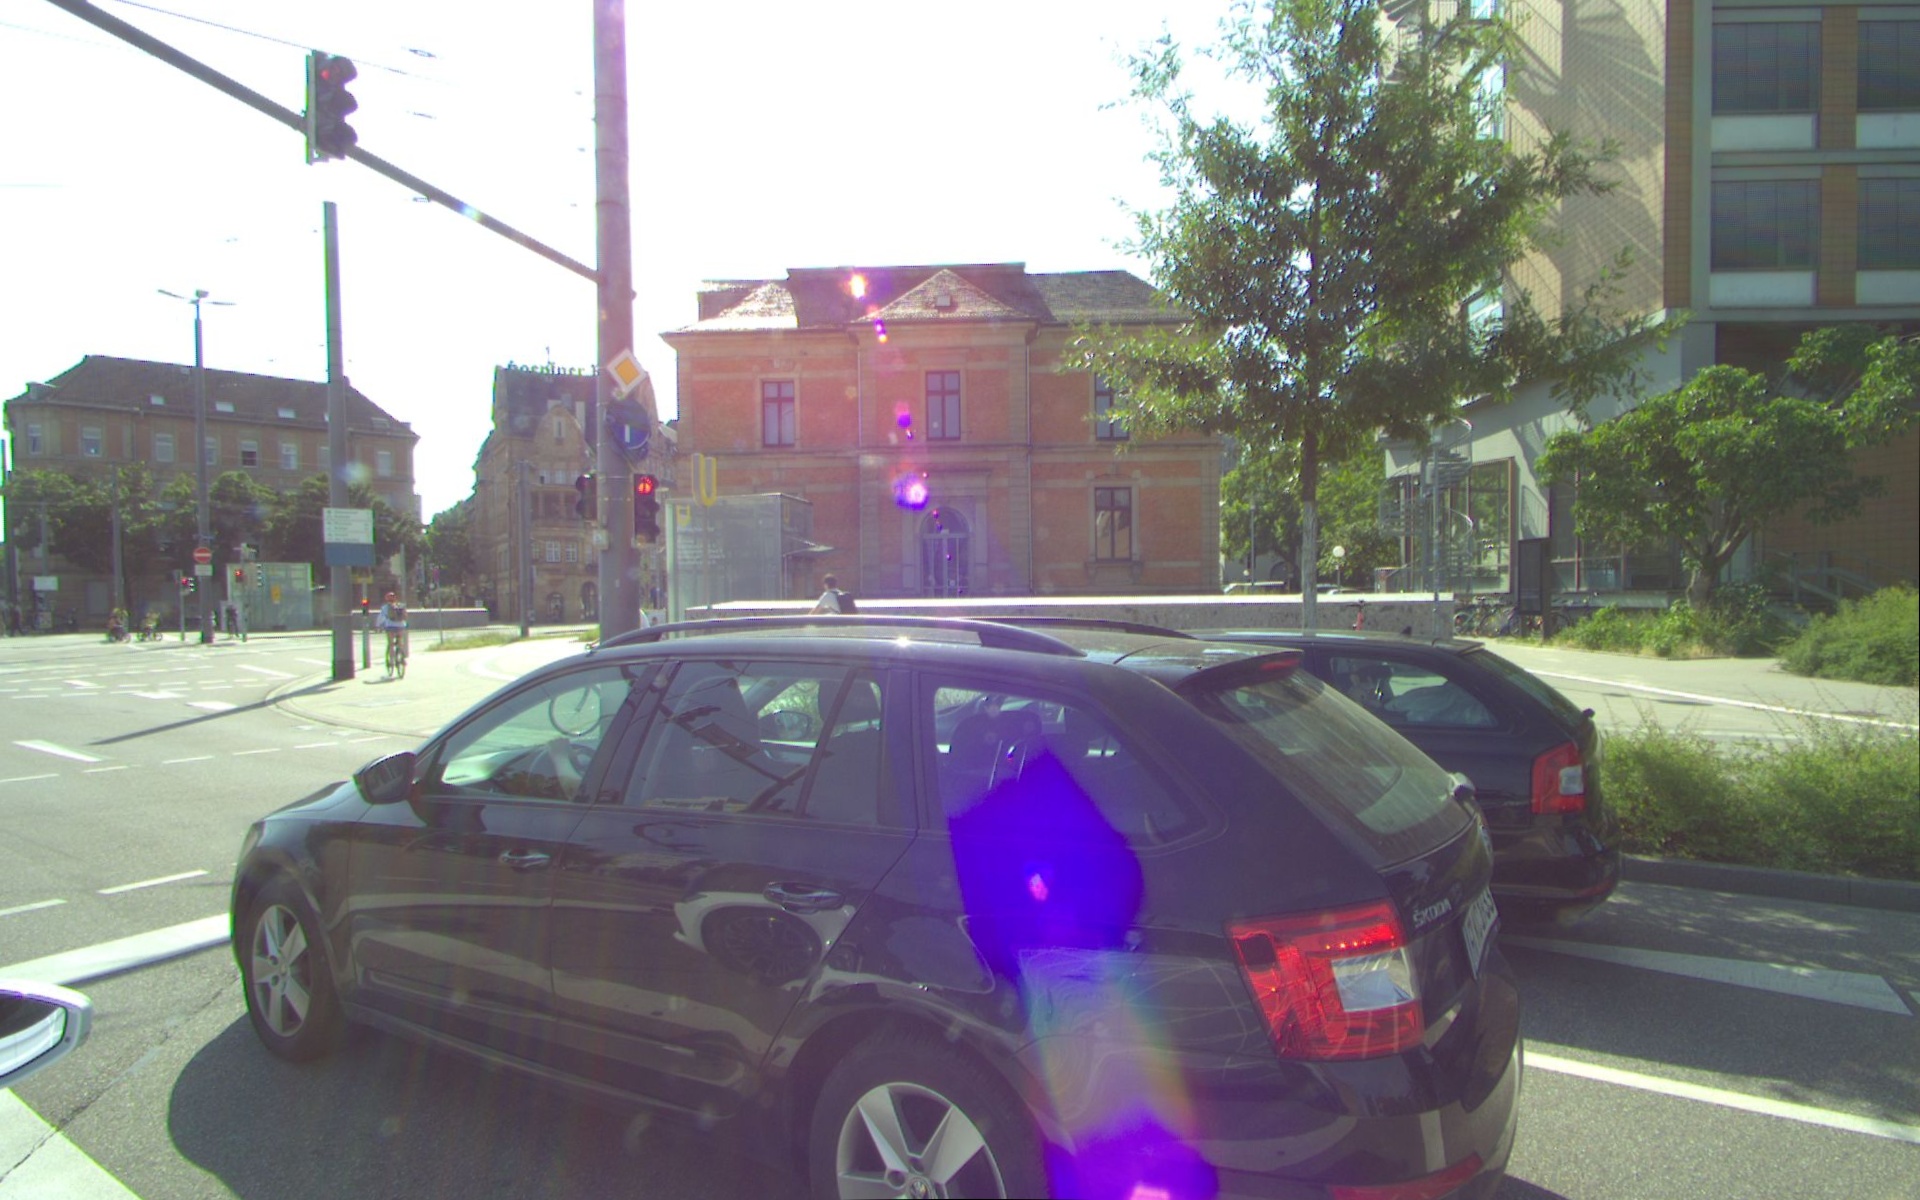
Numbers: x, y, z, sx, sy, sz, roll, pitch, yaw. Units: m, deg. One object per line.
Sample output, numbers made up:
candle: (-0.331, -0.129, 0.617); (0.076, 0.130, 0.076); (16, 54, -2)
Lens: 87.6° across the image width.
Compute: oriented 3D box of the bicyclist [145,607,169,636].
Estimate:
bicyclist: (-40.939, 1.088, 51.051); (0.919, 1.470, 1.242); (1, -1, -38)

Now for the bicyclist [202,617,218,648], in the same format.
bicyclist: (-40.028, 1.721, 53.450); (0.641, 1.642, 0.498); (0, -1, 38)

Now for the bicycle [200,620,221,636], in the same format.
bicycle: (-39.990, 1.490, 53.430); (1.567, 0.877, 0.498); (0, -1, 38)

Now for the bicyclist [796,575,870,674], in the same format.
bicyclist: (-2.018, 0.397, 15.939); (0.936, 1.507, 0.713); (-1, -2, 31)

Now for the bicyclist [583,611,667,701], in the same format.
bicyclist: (-4.258, 0.685, 12.729); (0.901, 1.043, 0.714); (-3, 2, -24)

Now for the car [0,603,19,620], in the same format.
car: (-117.019, 1.408, 122.988); (2.094, 2.040, 3.962); (-1, 0, -43)

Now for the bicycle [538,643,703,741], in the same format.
bicycle: (-4.300, 1.132, 12.714); (1.887, 1.029, 0.714); (-3, 2, -24)

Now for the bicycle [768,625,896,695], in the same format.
bicycle: (-2.054, 0.933, 15.954); (1.992, 1.029, 0.712); (-1, 2, 33)

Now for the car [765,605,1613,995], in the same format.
car: (1.079, 0.768, 5.675); (4.335, 1.448, 1.696); (0, 1, 33)

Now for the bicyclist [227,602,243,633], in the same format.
bicyclist: (-39.028, 0.929, 53.875); (0.660, 1.645, 0.777); (1, 0, -35)

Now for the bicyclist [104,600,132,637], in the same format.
bicyclist: (-41.844, 0.926, 49.752); (1.041, 1.843, 0.922); (-1, -2, 42)

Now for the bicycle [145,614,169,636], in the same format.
bicycle: (-40.925, 1.286, 51.043); (0.919, 1.083, 2.819); (1, -1, -38)

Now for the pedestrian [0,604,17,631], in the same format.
pedestrian: (-51.076, 0.948, 53.571); (0.699, 1.451, 0.614); (0, -1, -5)

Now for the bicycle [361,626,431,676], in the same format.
bicycle: (-12.728, 1.118, 22.573); (1.997, 1.029, 0.710); (-1, 3, 41)

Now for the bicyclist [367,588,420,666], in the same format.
bicyclist: (-12.743, 0.601, 22.538); (0.864, 1.692, 0.710); (0, 3, 40)

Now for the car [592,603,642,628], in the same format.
car: (-19.239, 0.833, 56.347); (1.639, 1.331, 3.452); (-1, 0, -1)

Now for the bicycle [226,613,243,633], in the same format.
bicycle: (-38.997, 1.230, 53.830); (0.660, 1.083, 2.447); (1, -1, -35)

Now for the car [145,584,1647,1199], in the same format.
car: (-0.671, 0.767, 3.285); (4.710, 1.454, 1.628); (-1, -1, 31)

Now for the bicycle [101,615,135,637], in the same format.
bicycle: (-41.770, 1.313, 49.671); (2.717, 1.083, 0.922); (-2, -2, 42)
